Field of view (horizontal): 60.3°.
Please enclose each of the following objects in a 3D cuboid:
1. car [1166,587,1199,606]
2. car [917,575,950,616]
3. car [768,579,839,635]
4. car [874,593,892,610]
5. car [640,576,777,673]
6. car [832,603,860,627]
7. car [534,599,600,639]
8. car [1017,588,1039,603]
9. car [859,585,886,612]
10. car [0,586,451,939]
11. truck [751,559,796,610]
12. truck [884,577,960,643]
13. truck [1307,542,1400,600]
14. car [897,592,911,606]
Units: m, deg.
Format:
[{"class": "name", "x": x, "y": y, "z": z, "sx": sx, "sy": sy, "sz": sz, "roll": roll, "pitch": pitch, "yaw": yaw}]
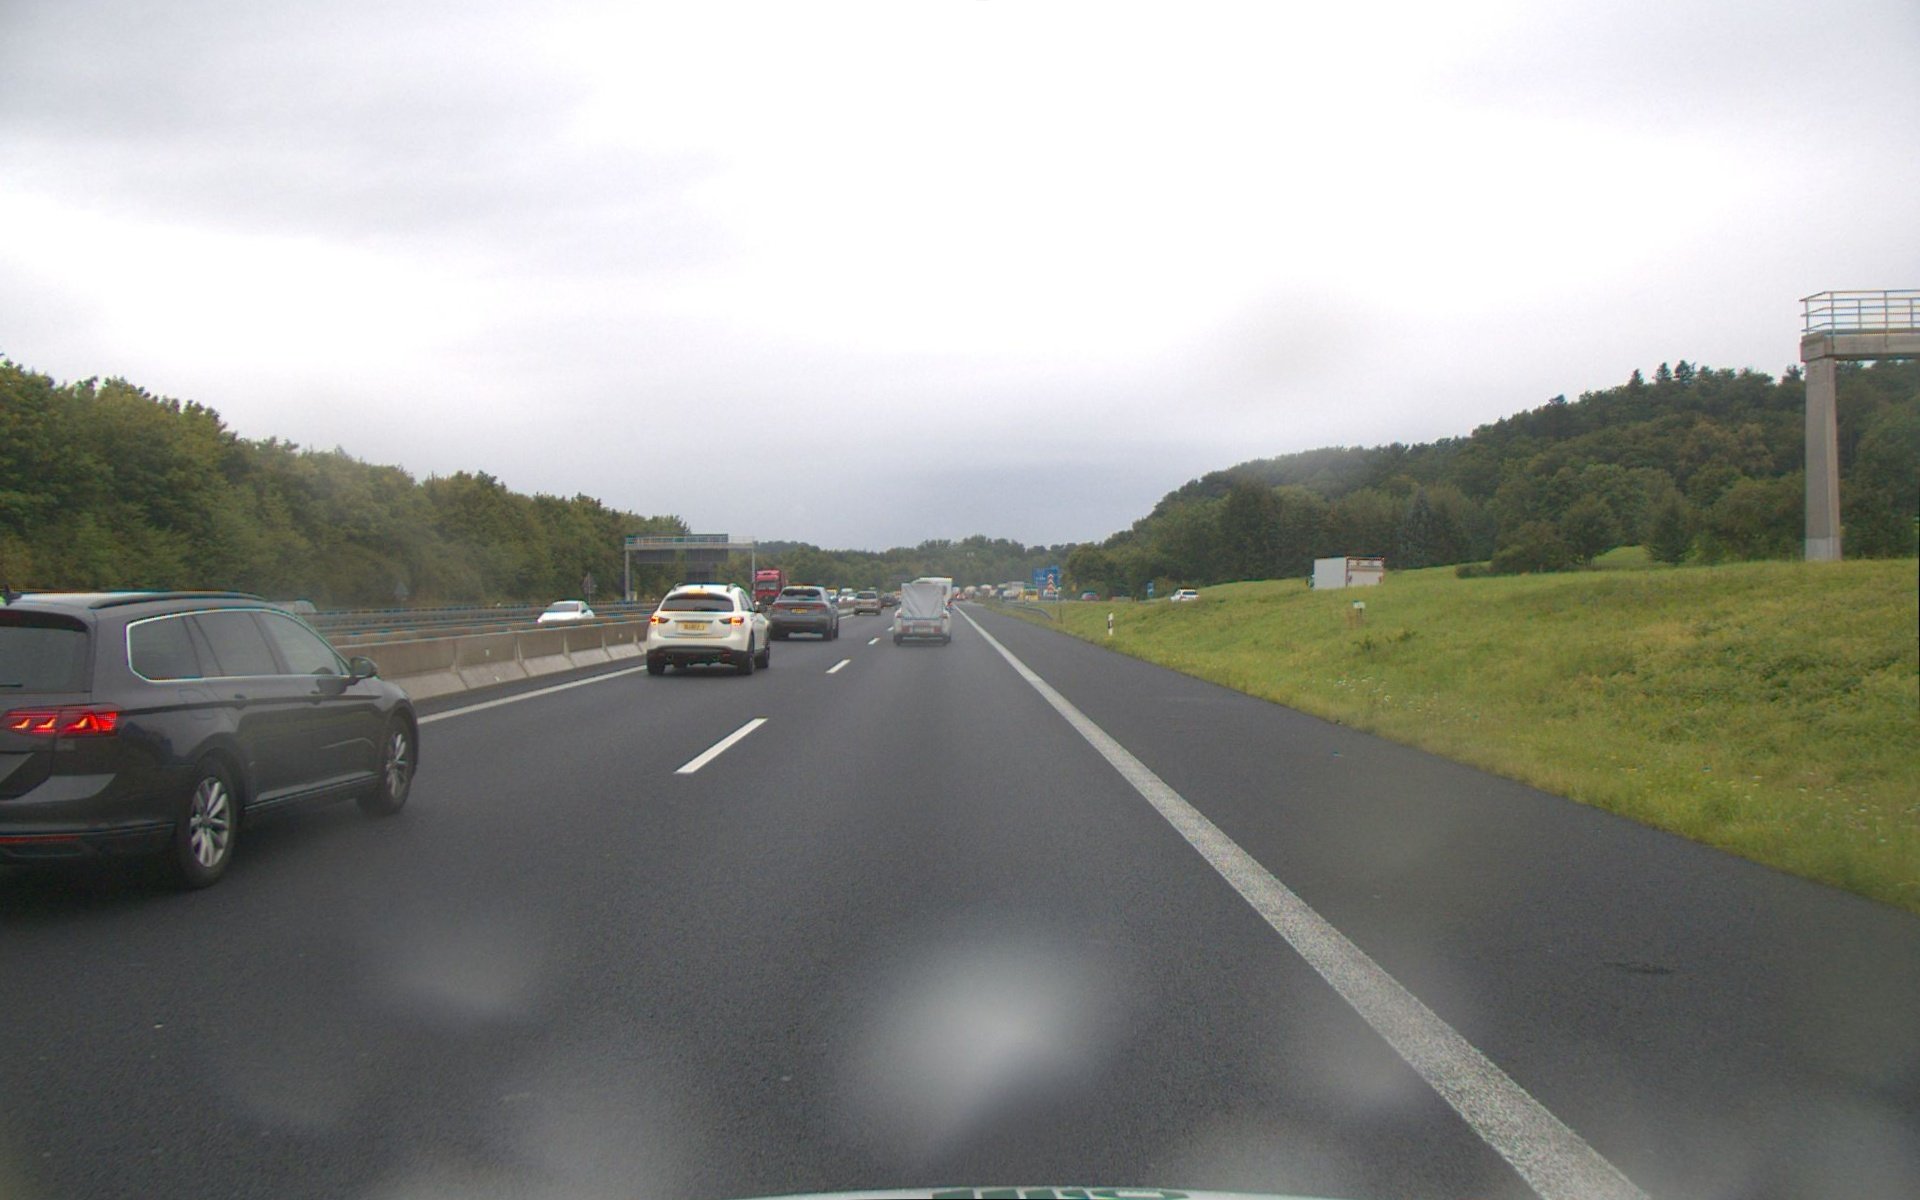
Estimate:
[{"class": "car", "x": 19.196, "y": -0.302, "z": 142.597, "sx": 1.955, "sy": 1.579, "sz": 3.995, "roll": 1, "pitch": 0, "yaw": -6}, {"class": "car", "x": -1.879, "y": -0.321, "z": 116.056, "sx": 2.284, "sy": 2.773, "sz": 6.538, "roll": 0, "pitch": 0, "yaw": -1}, {"class": "car", "x": -5.063, "y": 0.209, "z": 54.051, "sx": 1.935, "sy": 1.733, "sz": 4.801, "roll": 1, "pitch": 0, "yaw": -1}, {"class": "car", "x": -7.399, "y": 0.108, "z": 159.315, "sx": 1.612, "sy": 1.601, "sz": 4.000, "roll": 1, "pitch": 0, "yaw": 0}, {"class": "car", "x": -4.735, "y": 0.430, "z": 31.735, "sx": 2.007, "sy": 1.699, "sz": 4.540, "roll": 1, "pitch": 0, "yaw": -1}, {"class": "car", "x": -8.334, "y": 1.106, "z": 120.760, "sx": 1.782, "sy": 1.691, "sz": 4.016, "roll": 0, "pitch": 0, "yaw": -1}, {"class": "car", "x": -17.149, "y": 0.804, "z": 72.374, "sx": 1.953, "sy": 1.691, "sz": 4.312, "roll": 0, "pitch": 0, "yaw": -1}, {"class": "car", "x": 7.680, "y": -0.526, "z": 188.031, "sx": 1.955, "sy": 1.579, "sz": 3.995, "roll": 1, "pitch": 0, "yaw": -6}, {"class": "car", "x": -6.024, "y": -0.132, "z": 113.850, "sx": 1.703, "sy": 1.825, "sz": 3.999, "roll": 1, "pitch": 0, "yaw": -1}, {"class": "car", "x": -4.523, "y": 0.674, "z": 9.385, "sx": 1.751, "sy": 1.484, "sz": 4.802, "roll": 1, "pitch": 0, "yaw": 0}, {"class": "truck", "x": -18.396, "y": -1.507, "z": 163.752, "sx": 3.330, "sy": 4.816, "sz": 10.484, "roll": 1, "pitch": 0, "yaw": 0}, {"class": "truck", "x": -1.194, "y": 0.274, "z": 51.175, "sx": 2.197, "sy": 1.871, "sz": 6.582, "roll": 0, "pitch": 0, "yaw": -2}, {"class": "truck", "x": 26.508, "y": -1.896, "z": 111.898, "sx": 3.750, "sy": 3.723, "sz": 8.265, "roll": 1, "pitch": 0, "yaw": -4}, {"class": "car", "x": -6.759, "y": -0.112, "z": 200.656, "sx": 1.612, "sy": 1.601, "sz": 4.000, "roll": 1, "pitch": 0, "yaw": 0}]
